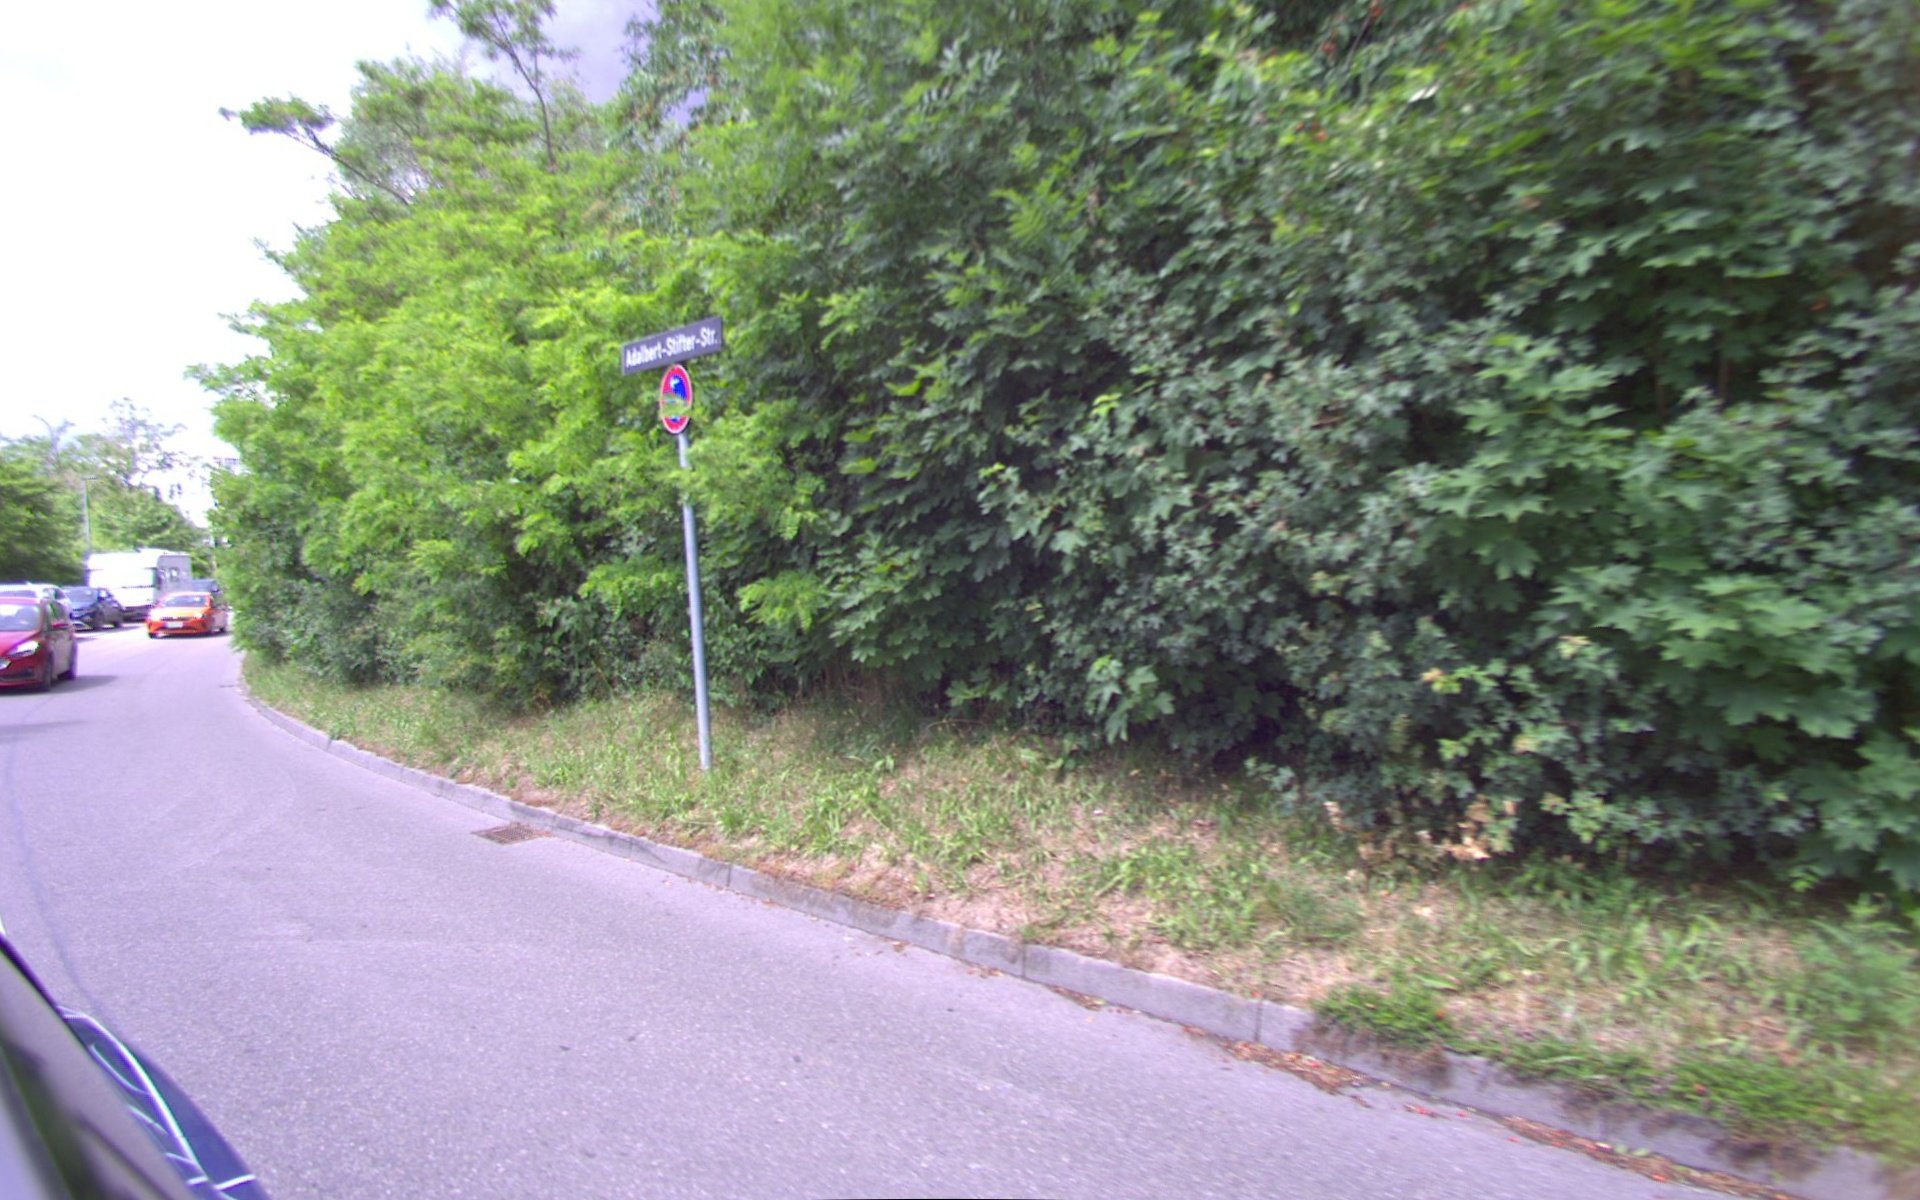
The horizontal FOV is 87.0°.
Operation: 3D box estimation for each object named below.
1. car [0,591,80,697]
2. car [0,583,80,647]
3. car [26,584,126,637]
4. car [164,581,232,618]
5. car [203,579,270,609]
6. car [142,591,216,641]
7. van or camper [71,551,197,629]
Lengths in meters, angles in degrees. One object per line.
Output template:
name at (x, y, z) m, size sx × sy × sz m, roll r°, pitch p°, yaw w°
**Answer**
car at (-17.025, 0.703, 17.732) m, size 1.783 × 1.621 × 3.733 m, roll 3°, pitch 0°, yaw -32°
car at (-28.008, 0.417, 29.953) m, size 1.846 × 1.701 × 4.594 m, roll -4°, pitch 3°, yaw -28°
car at (-31.169, 0.326, 35.799) m, size 1.687 × 1.603 × 4.013 m, roll -4°, pitch 4°, yaw -28°
car at (-36.731, -0.065, 48.854) m, size 1.704 × 1.530 × 3.903 m, roll -2°, pitch 4°, yaw -23°
car at (-39.218, -0.363, 54.965) m, size 1.751 × 1.445 × 4.348 m, roll -2°, pitch 3°, yaw -19°
car at (-26.222, 0.478, 34.087) m, size 1.832 × 1.453 × 4.010 m, roll 0°, pitch 2°, yaw -36°
van or camper at (-34.085, -0.513, 42.022) m, size 2.300 × 2.890 × 6.171 m, roll -4°, pitch 3°, yaw -23°
